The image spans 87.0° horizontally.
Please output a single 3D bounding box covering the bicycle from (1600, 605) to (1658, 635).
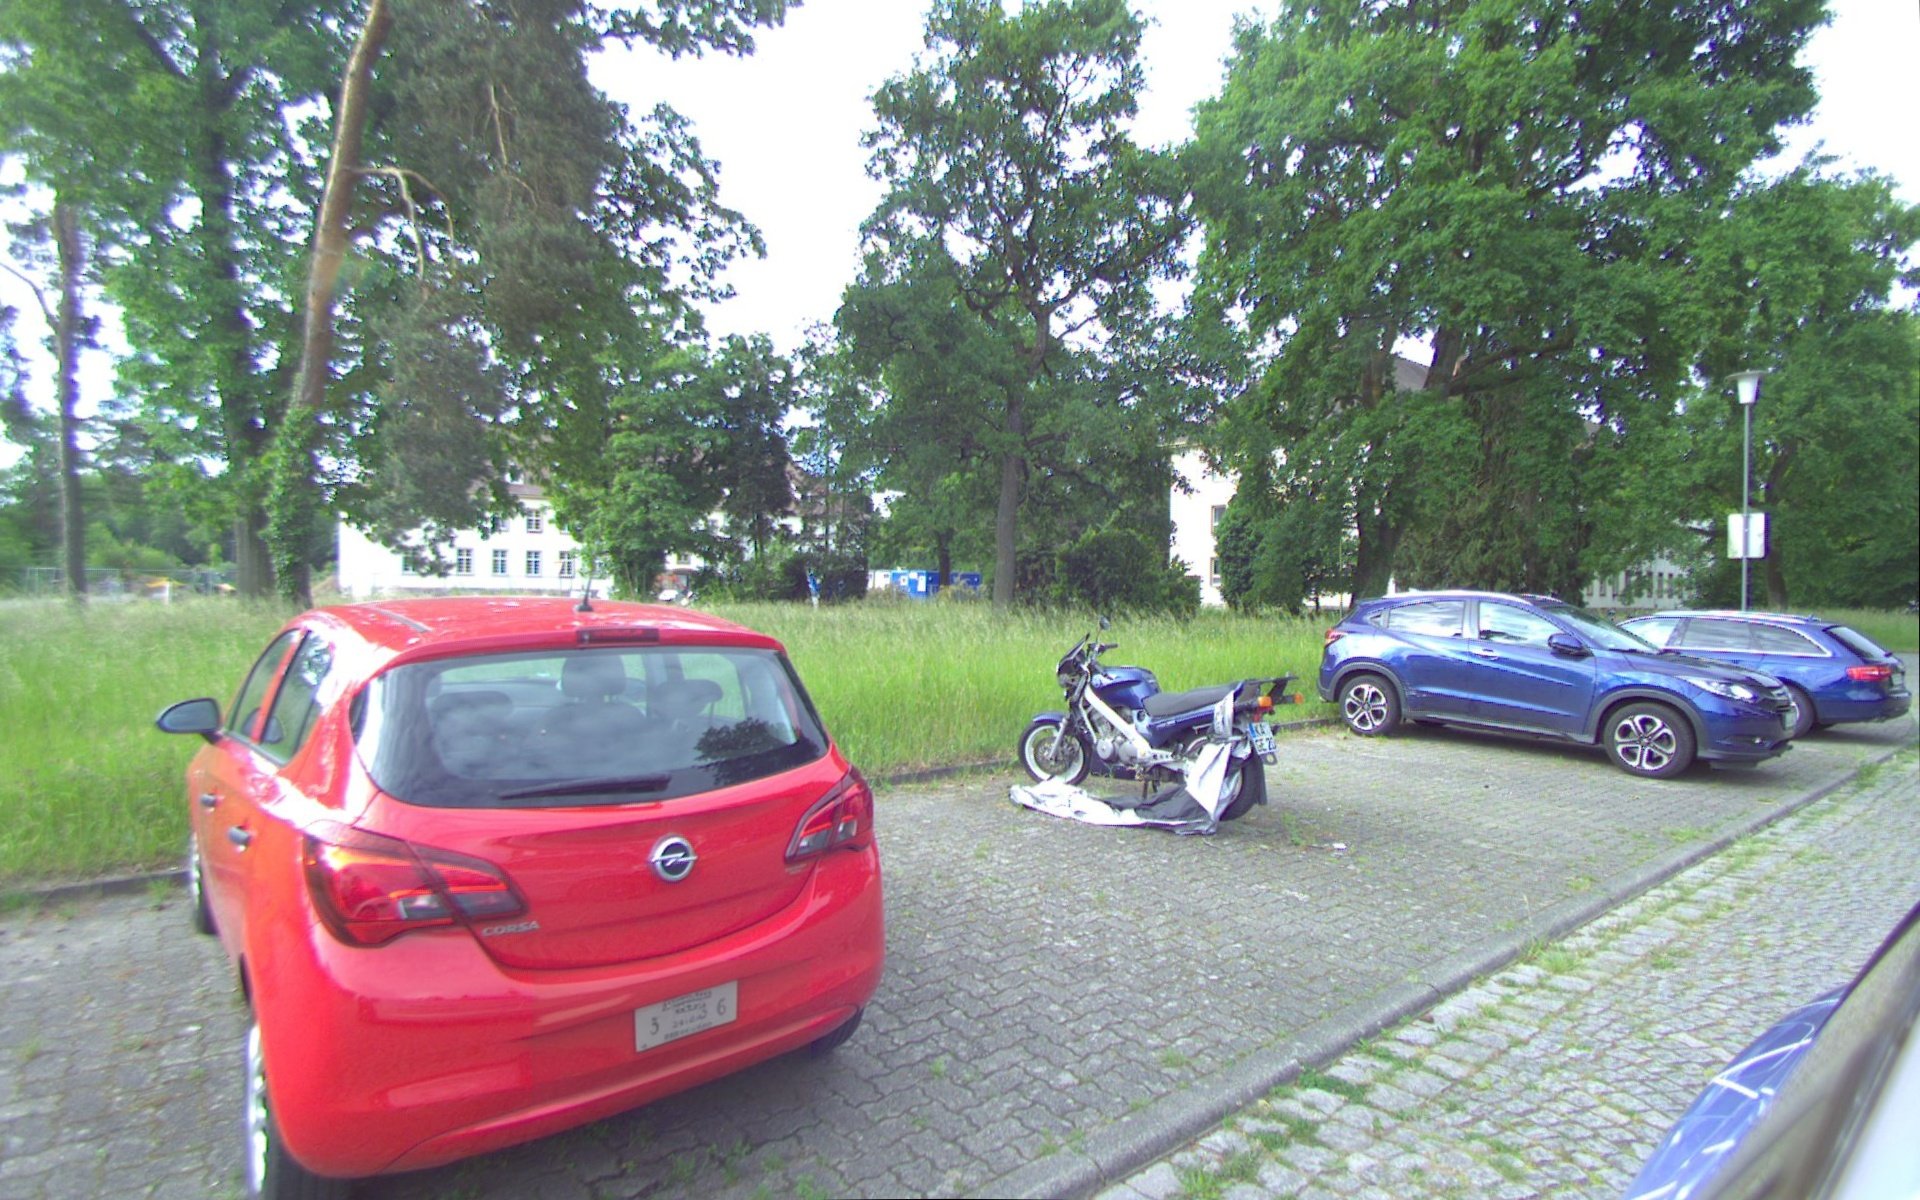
[{"bbox_3d":[26.676,0.785,40.380,1.840,1.137,0.616,0,0,28],"label":"bicycle"}]

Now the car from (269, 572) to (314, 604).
[{"bbox_3d":[-51.534,-0.917,77.945,4.580,2.378,1.888,0,0,43],"label":"car"}]

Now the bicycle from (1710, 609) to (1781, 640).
[{"bbox_3d":[28.490,0.869,36.735,1.951,1.090,0.583,0,0,24],"label":"bicycle"}]

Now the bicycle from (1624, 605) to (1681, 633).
[{"bbox_3d":[28.467,0.768,41.634,1.840,1.137,0.616,0,0,28],"label":"bicycle"}]

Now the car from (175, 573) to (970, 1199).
[{"bbox_3d":[-1.870,0.677,3.930,1.748,1.478,3.834,0,2,-40],"label":"car"}]

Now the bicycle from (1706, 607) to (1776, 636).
[{"bbox_3d":[29.701,0.814,38.522,2.010,1.090,0.616,0,0,28],"label":"bicycle"}]

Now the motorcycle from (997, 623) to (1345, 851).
[{"bbox_3d":[1.352,0.819,6.989,0.781,1.200,2.331,0,1,-42],"label":"motorcycle"}]

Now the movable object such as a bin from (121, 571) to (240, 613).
[{"bbox_3d":[-50.748,-0.535,66.003,5.856,2.688,2.178,0,0,-8],"label":"movable object such as a bin"}]

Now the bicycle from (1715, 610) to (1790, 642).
[{"bbox_3d":[27.632,0.908,35.329,1.951,1.090,0.583,0,0,24],"label":"bicycle"}]

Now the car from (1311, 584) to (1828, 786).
[{"bbox_3d":[5.917,0.644,10.281,1.761,1.591,4.171,-1,1,-39],"label":"car"}]

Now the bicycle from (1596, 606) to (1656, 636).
[{"bbox_3d":[25.332,0.791,38.502,1.840,1.137,0.616,0,0,28],"label":"bicycle"}]

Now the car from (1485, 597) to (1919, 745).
[{"bbox_3d":[9.528,0.759,13.153,1.751,1.439,4.484,0,2,-36],"label":"car"}]

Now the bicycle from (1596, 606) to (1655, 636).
[{"bbox_3d":[25.661,0.789,39.046,1.840,1.137,0.616,0,0,28],"label":"bicycle"}]
